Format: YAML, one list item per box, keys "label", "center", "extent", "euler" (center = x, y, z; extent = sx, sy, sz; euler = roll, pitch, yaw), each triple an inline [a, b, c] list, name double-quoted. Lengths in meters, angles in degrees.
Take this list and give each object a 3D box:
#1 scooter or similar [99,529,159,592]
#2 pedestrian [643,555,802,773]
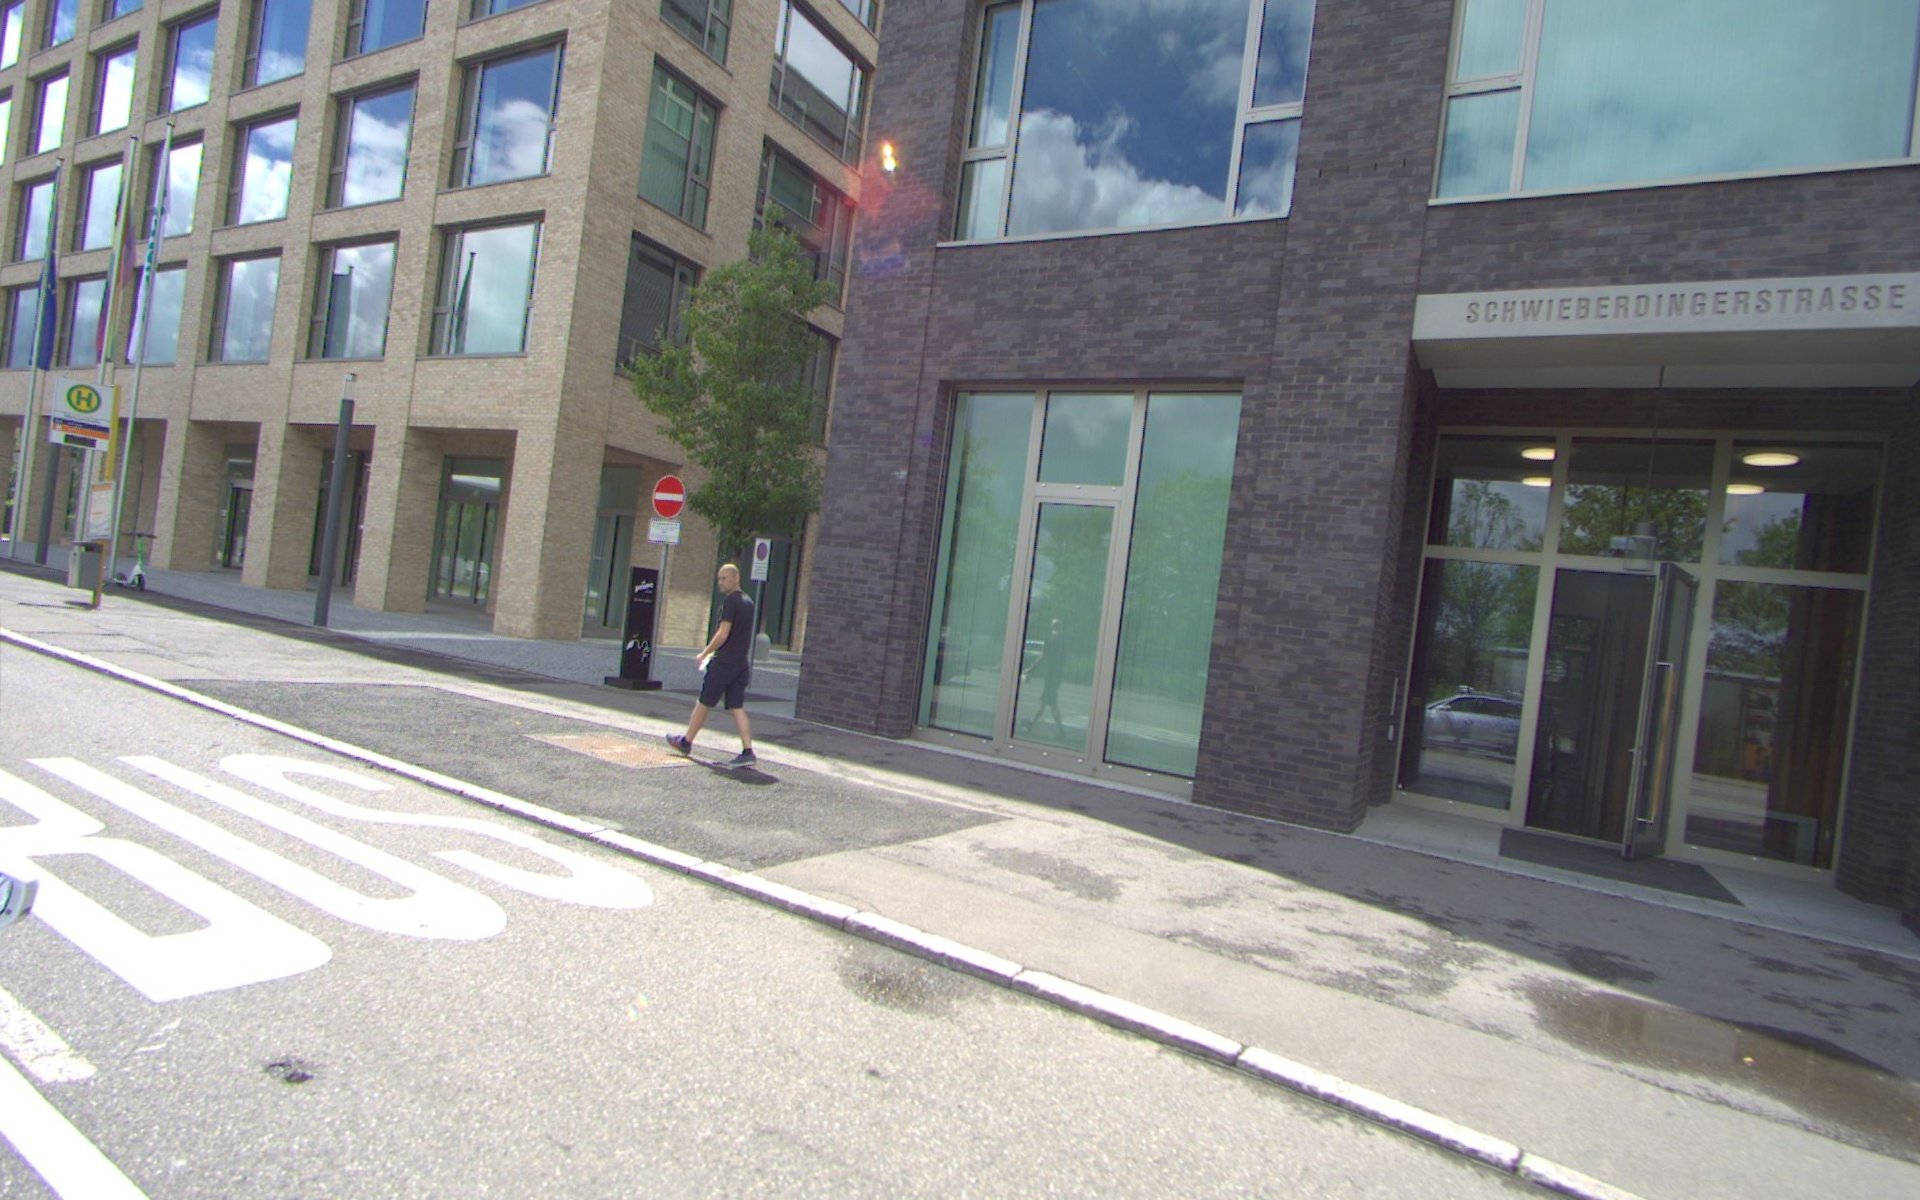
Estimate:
- label: "scooter or similar"
  center: [-17.176, -0.821, 20.779]
  extent: [1.380, 1.167, 0.427]
  euler: [6, 0, 30]
- label: "pedestrian"
  center: [-2.088, 0.551, 8.859]
  extent: [0.946, 1.748, 0.684]
  euler: [7, -1, 30]
